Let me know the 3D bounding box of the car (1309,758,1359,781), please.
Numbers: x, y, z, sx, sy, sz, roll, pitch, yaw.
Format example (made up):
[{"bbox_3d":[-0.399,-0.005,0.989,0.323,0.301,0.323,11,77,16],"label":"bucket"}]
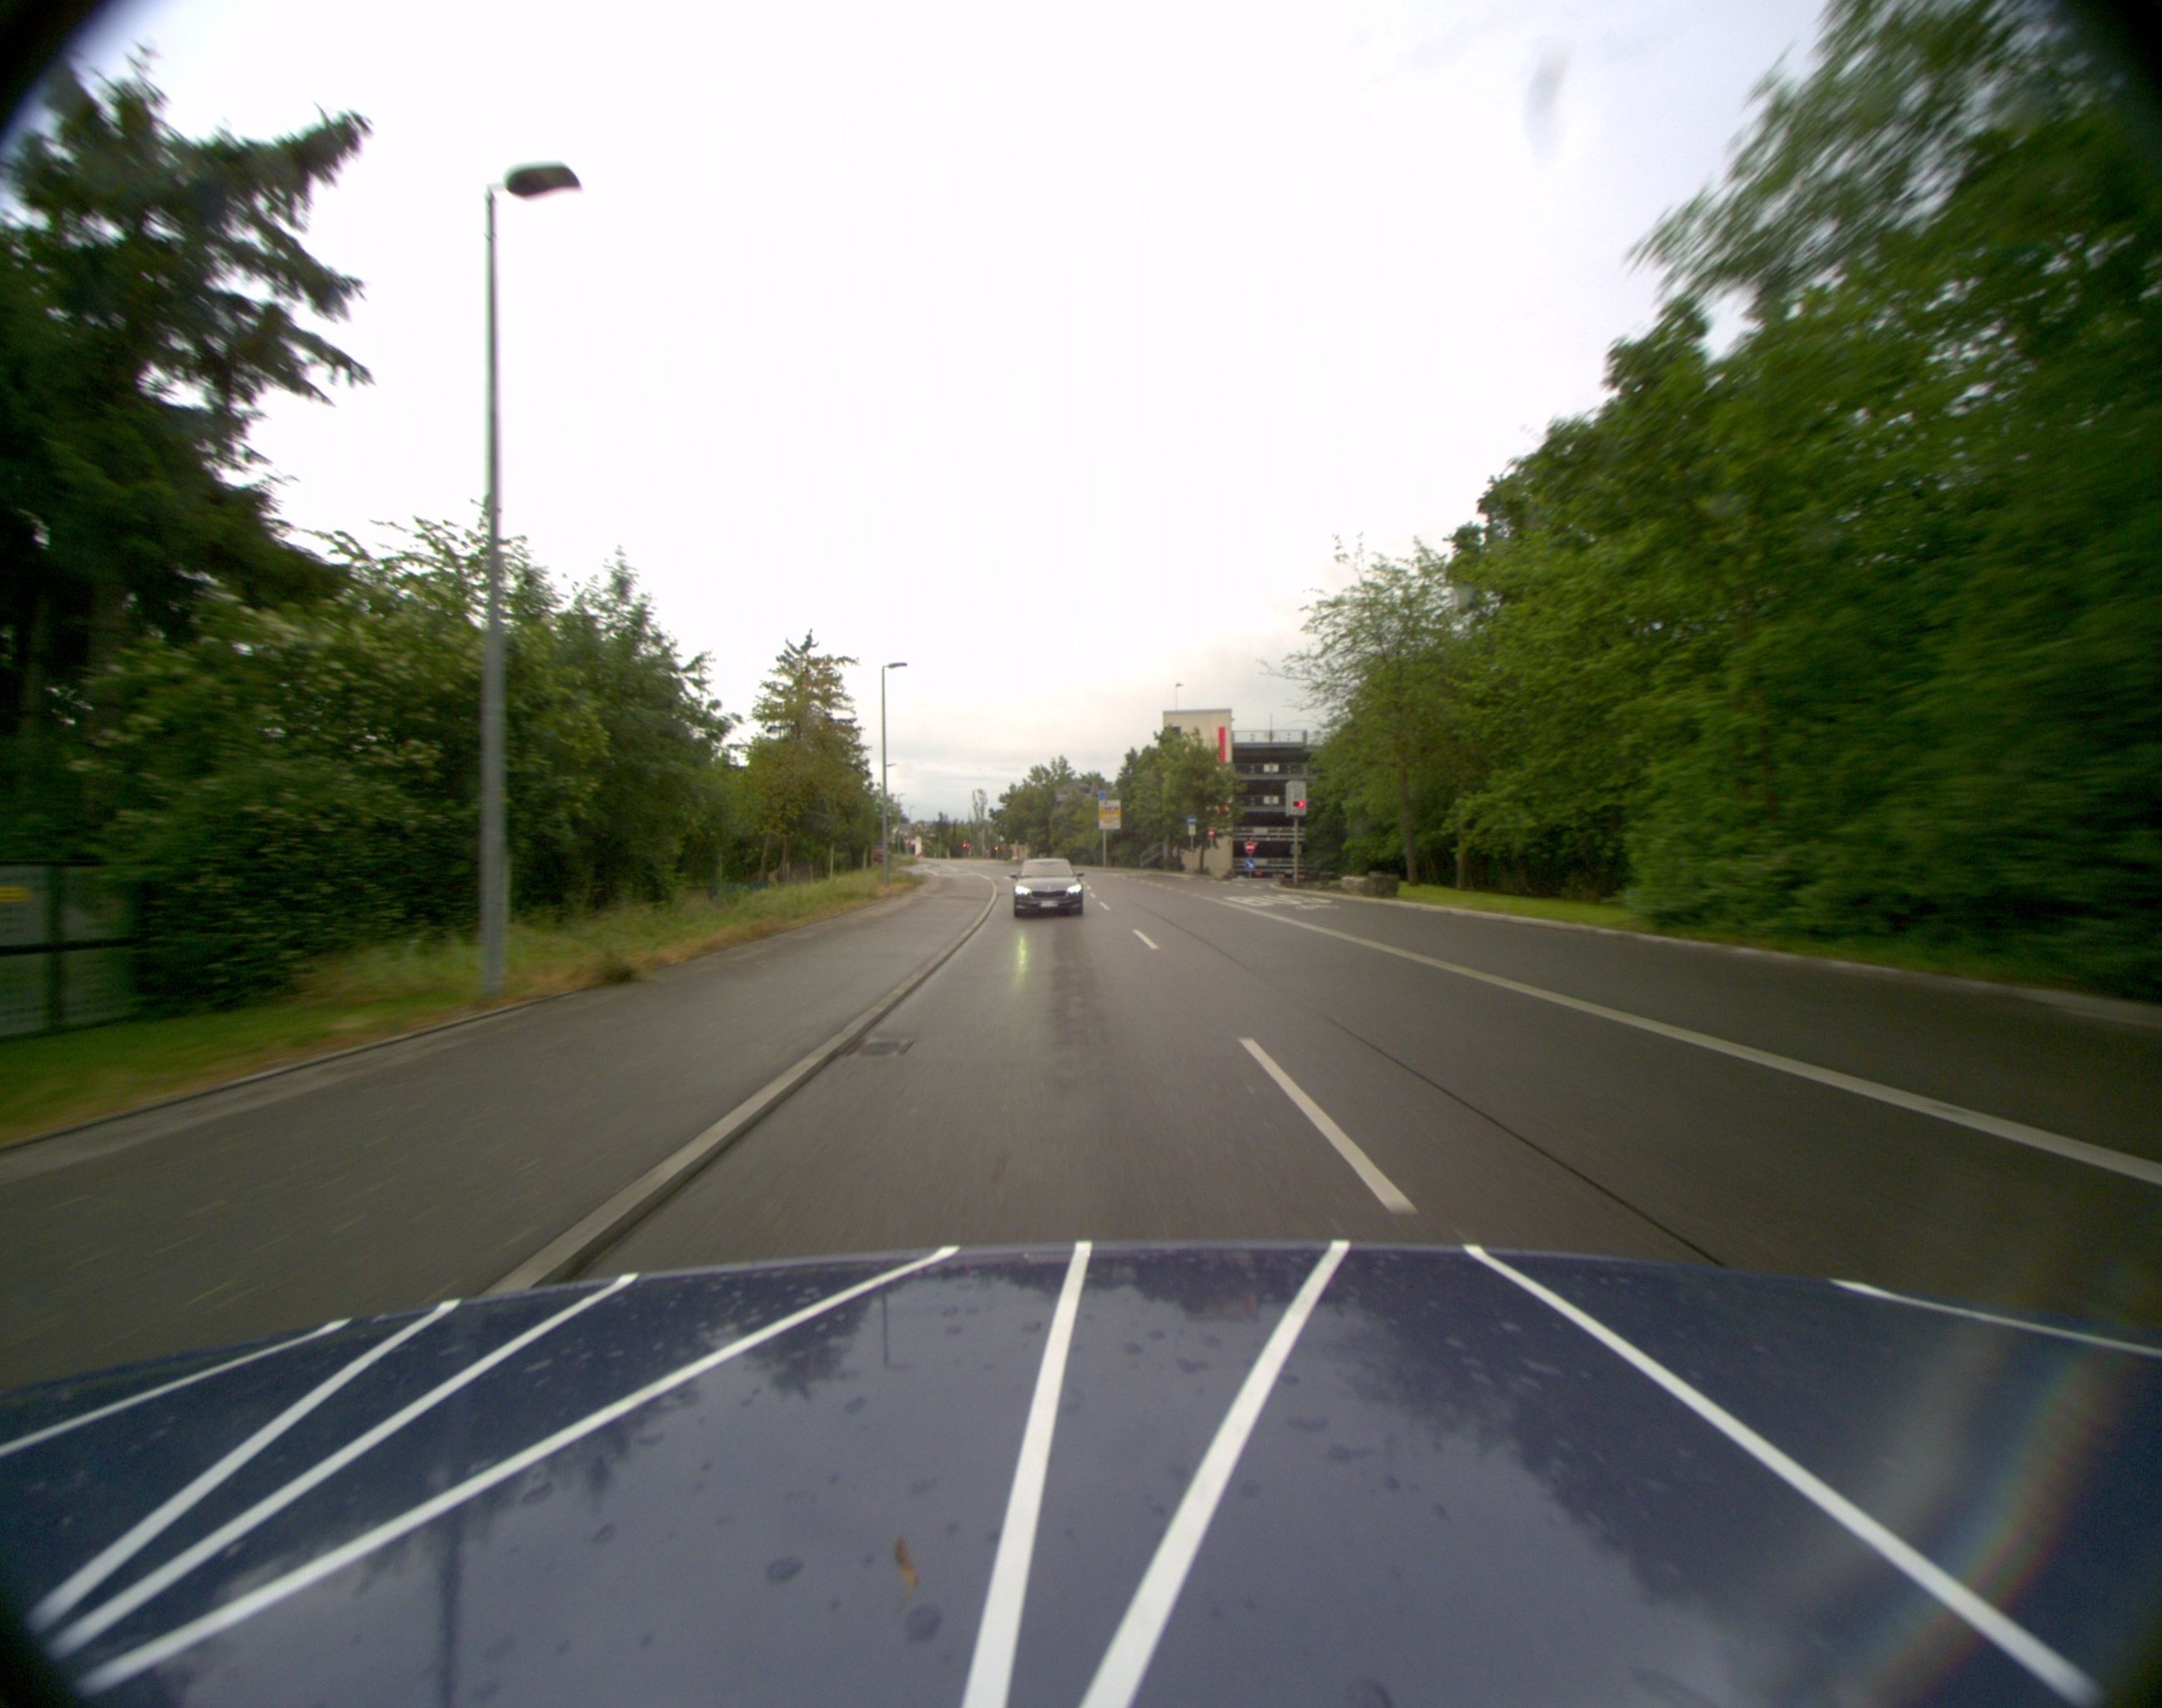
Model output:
[{"bbox_3d":[23.021,-7.706,69.264,3.994,1.761,2.002,0,-1,9],"label":"car"}]

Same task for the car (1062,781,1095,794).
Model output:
[{"bbox_3d":[-0.267,-8.892,101.389,3.992,1.510,2.002,1,1,13],"label":"car"}]

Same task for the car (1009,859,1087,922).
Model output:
[{"bbox_3d":[-0.850,0.901,20.629,1.839,1.448,4.201,-2,0,-1],"label":"car"}]

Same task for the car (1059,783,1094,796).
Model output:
[{"bbox_3d":[-0.546,-8.277,97.195,3.992,1.510,2.002,1,1,13],"label":"car"}]

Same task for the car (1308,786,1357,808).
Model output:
[{"bbox_3d":[23.005,-5.196,69.591,3.994,1.761,2.002,0,-1,9],"label":"car"}]
